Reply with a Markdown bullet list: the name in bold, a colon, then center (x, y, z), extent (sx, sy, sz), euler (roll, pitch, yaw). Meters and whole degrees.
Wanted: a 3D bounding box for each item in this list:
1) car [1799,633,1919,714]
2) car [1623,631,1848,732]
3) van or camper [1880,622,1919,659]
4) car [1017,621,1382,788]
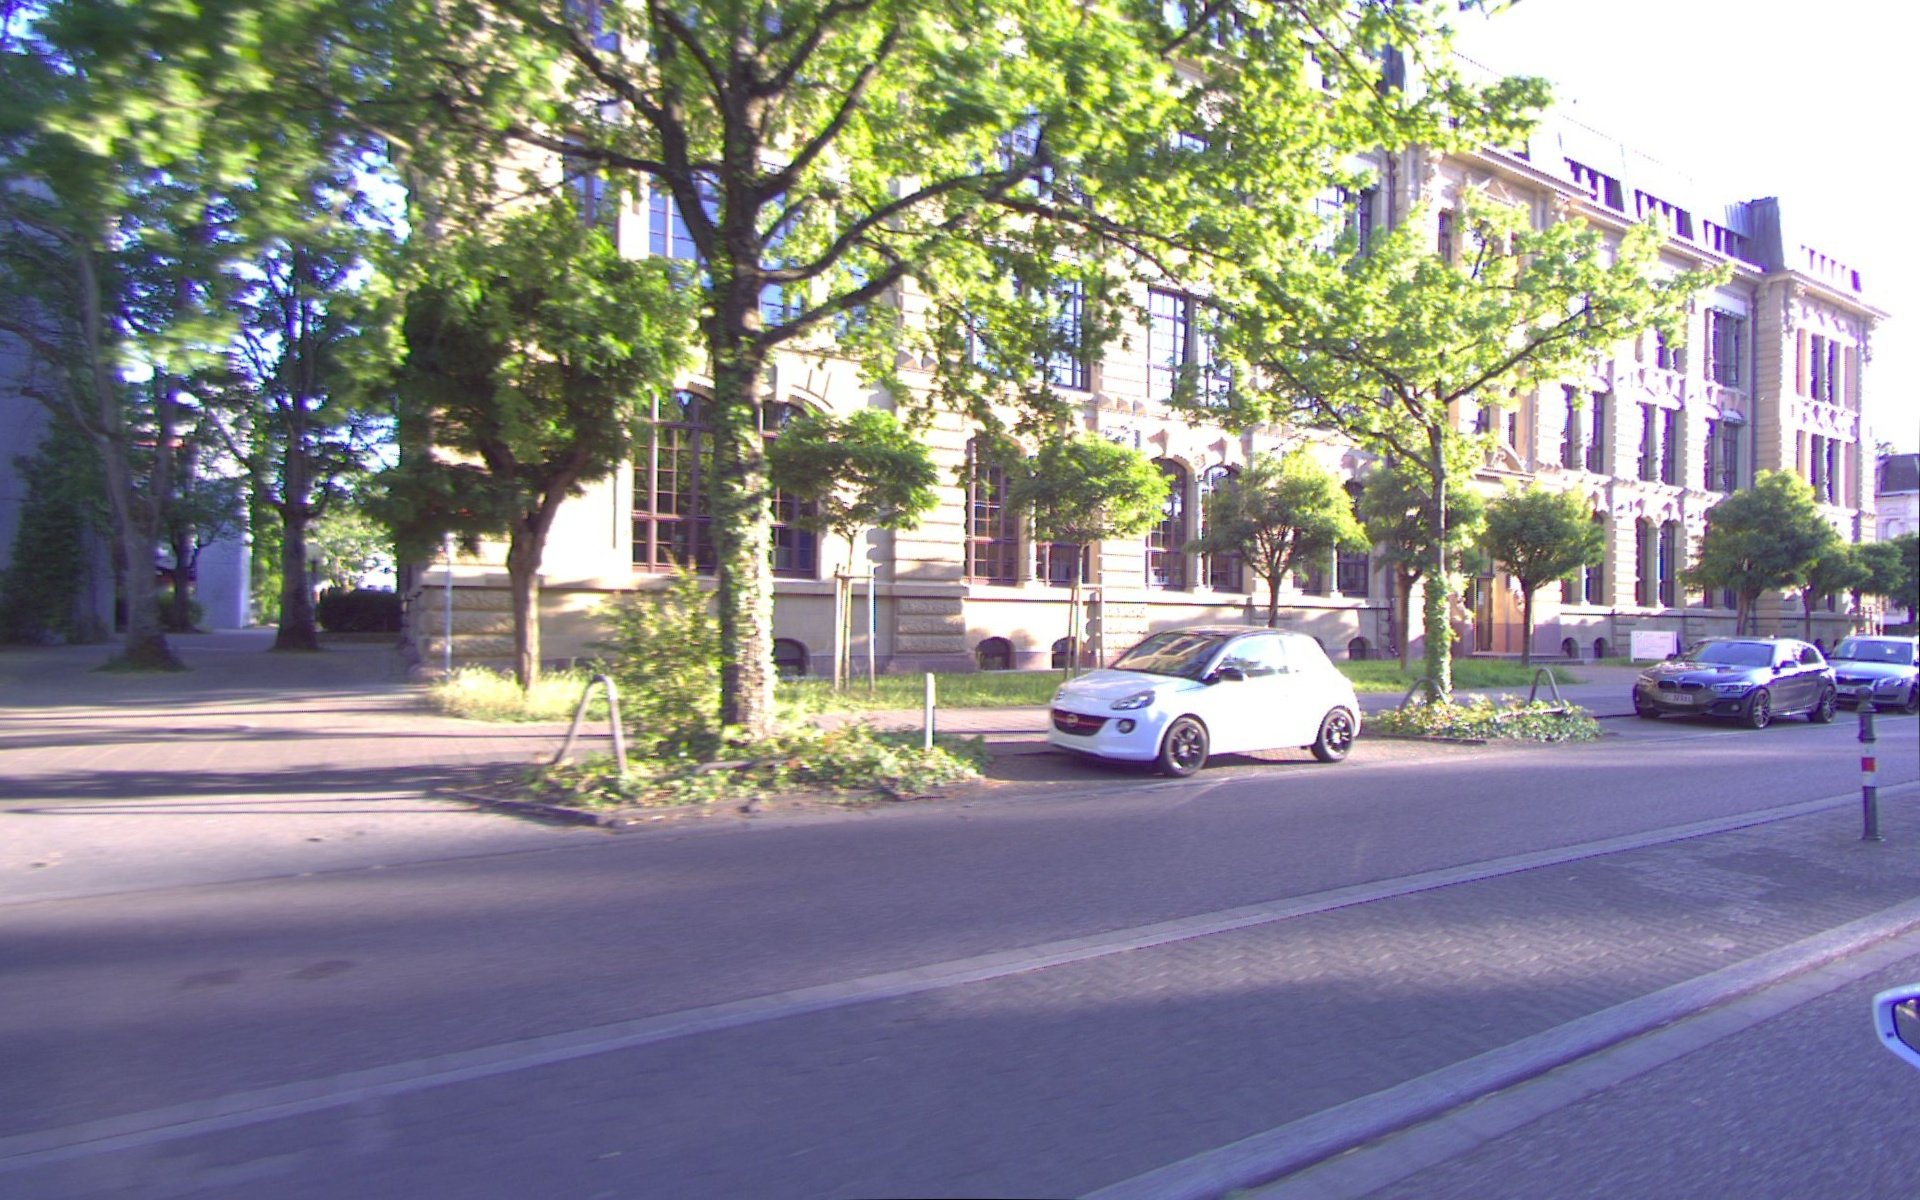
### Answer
- **car**: center (19.544, 1.477, 21.263), extent (4.334, 1.516, 1.707), euler (1, -1, -35)
- **car**: center (13.354, 1.319, 17.239), extent (4.327, 1.516, 1.609), euler (1, -1, -31)
- **van or camper**: center (57.413, 2.367, 58.896), extent (1.975, 2.013, 4.749), euler (-4, 1, -28)
- **car**: center (2.682, 1.019, 11.009), extent (3.879, 1.516, 1.609), euler (1, -1, -31)
